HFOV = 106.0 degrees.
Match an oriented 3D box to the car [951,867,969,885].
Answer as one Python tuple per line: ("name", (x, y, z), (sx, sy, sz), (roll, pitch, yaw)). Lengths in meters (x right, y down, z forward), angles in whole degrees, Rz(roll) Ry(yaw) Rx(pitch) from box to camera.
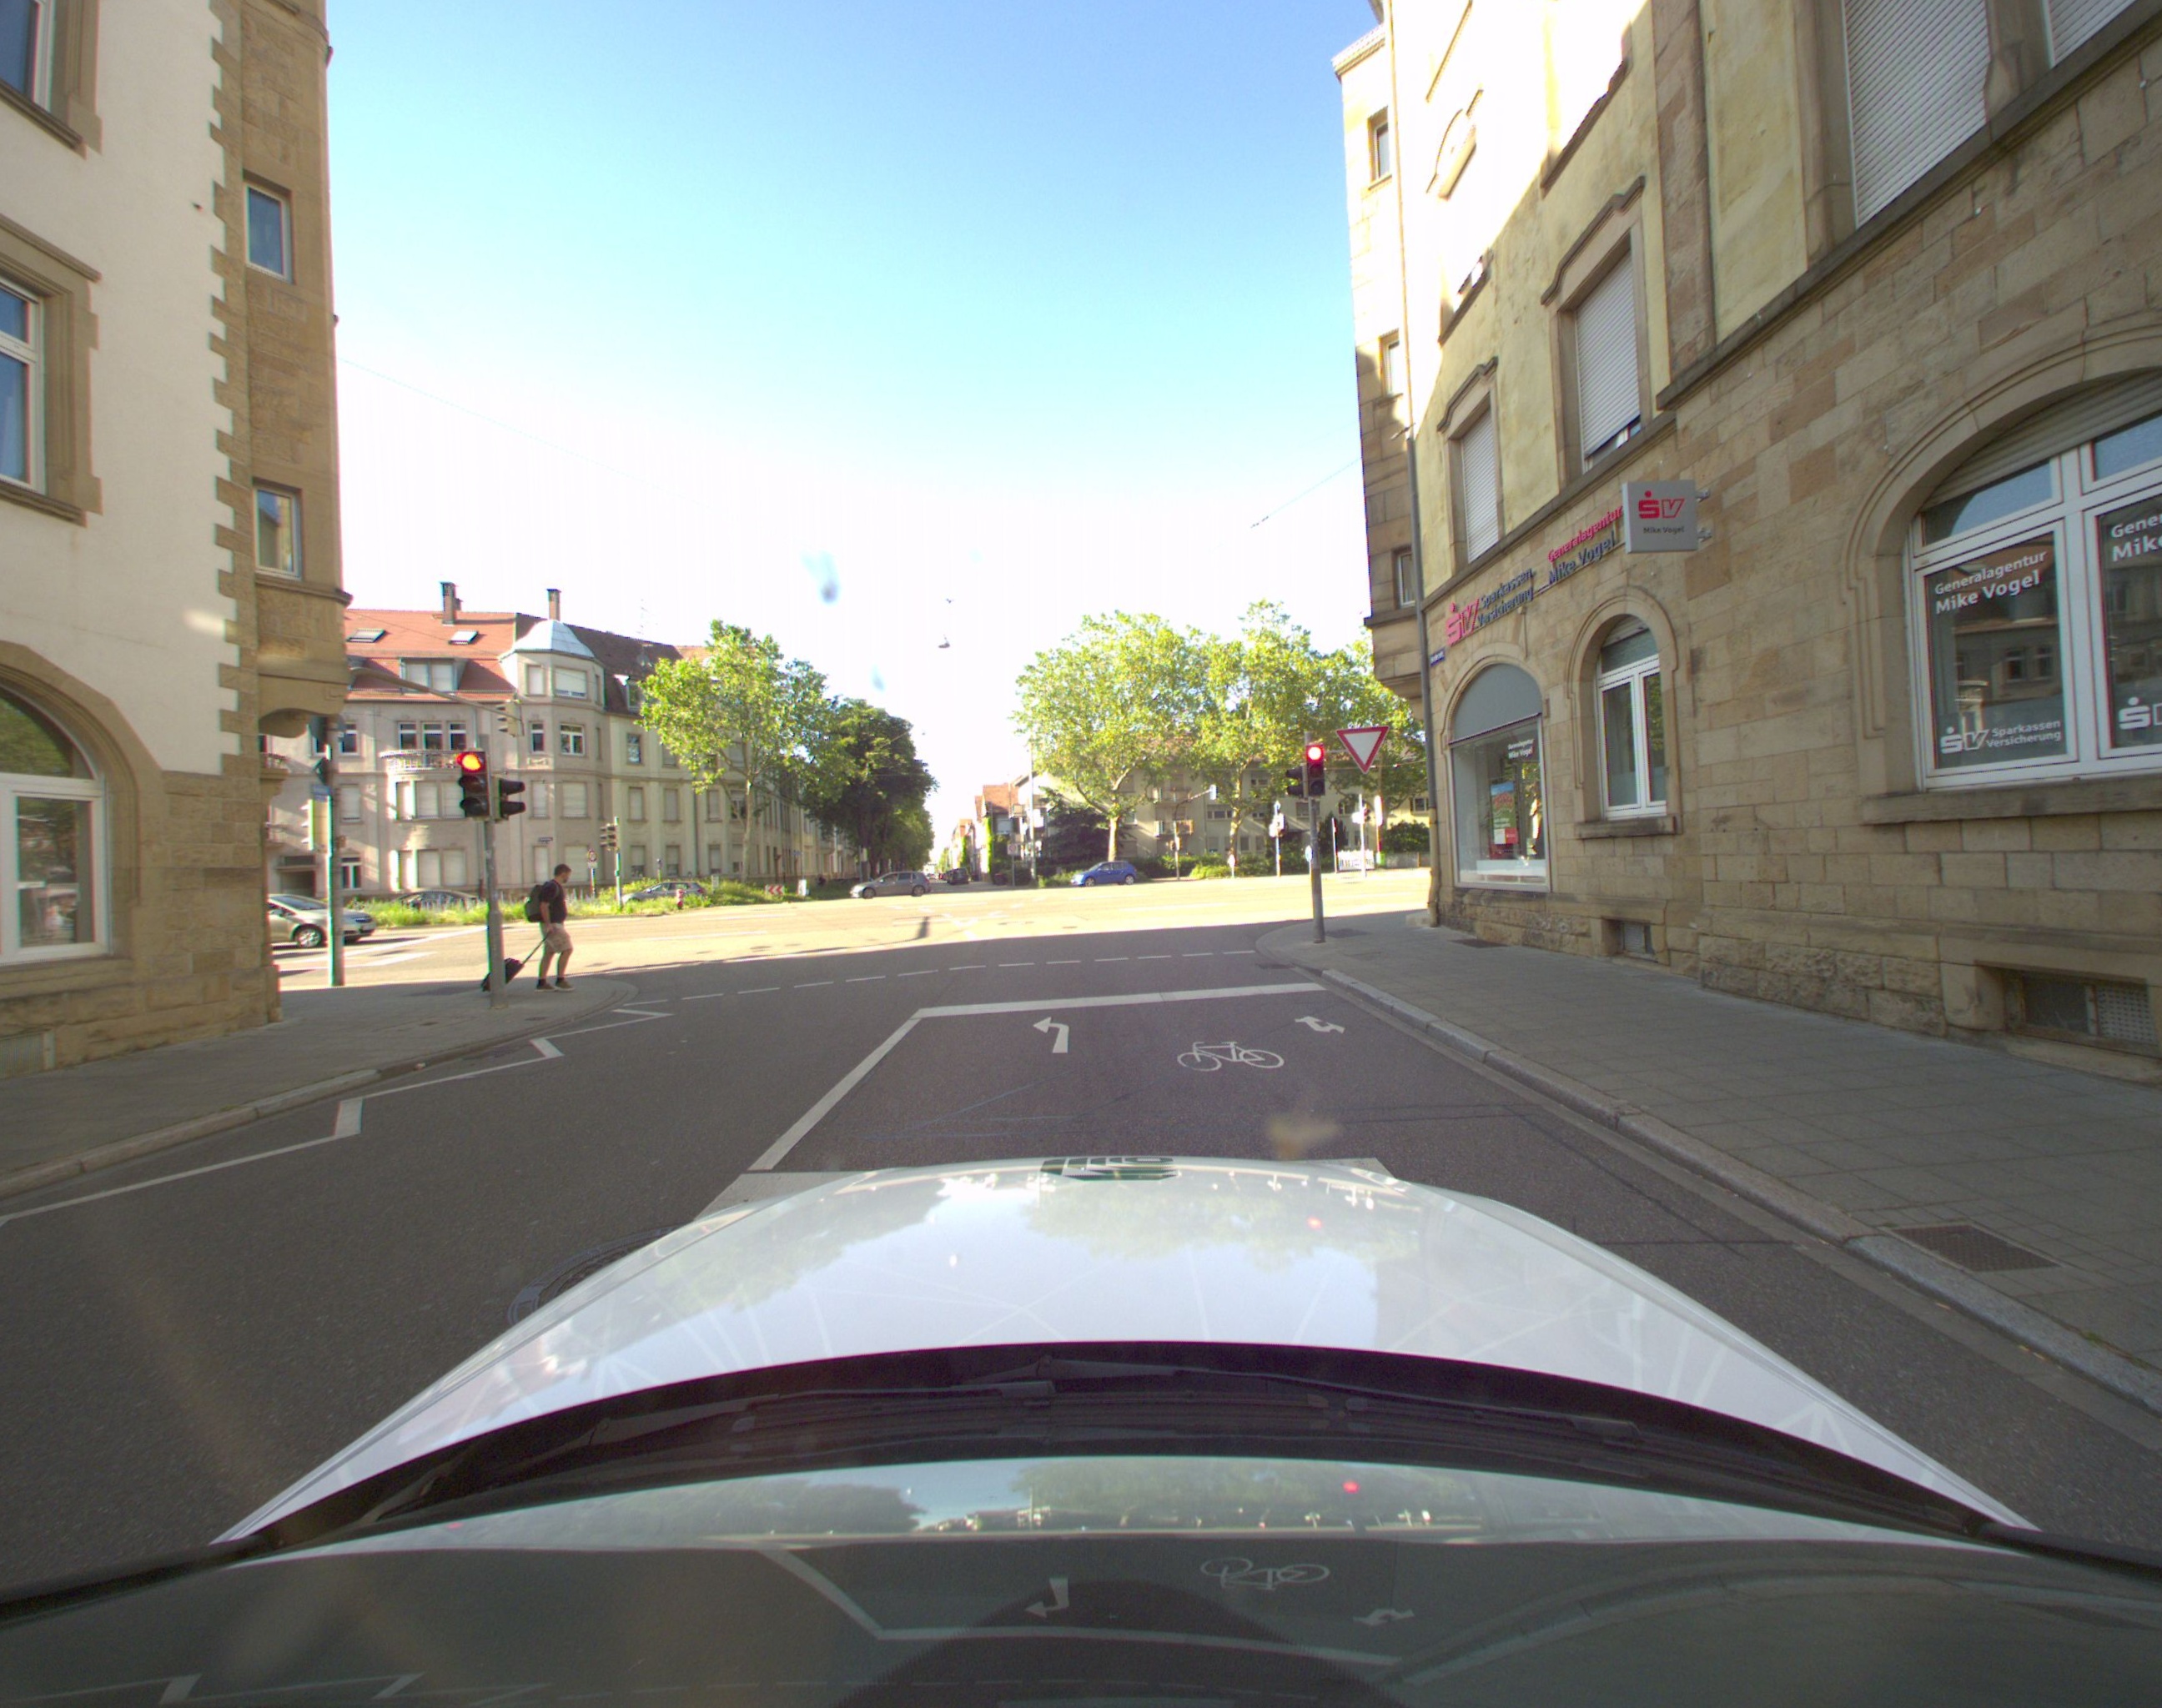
("car", (-14.124, 2.516, 94.977), (1.773, 1.918, 3.522), (-4, 0, -10))

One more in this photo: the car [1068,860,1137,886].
("car", (1.267, 1.111, 48.715), (3.787, 1.400, 1.638), (-2, 0, -15))

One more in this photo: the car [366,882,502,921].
("car", (-28.050, 2.014, 35.452), (4.281, 1.400, 1.635), (-2, 0, -20))

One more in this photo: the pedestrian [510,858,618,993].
("pedestrian", (-7.406, 0.994, 11.716), (1.066, 1.849, 0.746), (1, -1, -11))

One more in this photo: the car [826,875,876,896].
("car", (-17.955, 2.472, 63.713), (3.636, 1.457, 1.650), (-2, 0, -14))

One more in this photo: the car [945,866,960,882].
("car", (-16.570, 2.556, 105.202), (1.773, 1.918, 3.522), (-4, 0, -10))

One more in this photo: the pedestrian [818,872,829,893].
("pedestrian", (-18.075, 2.007, 57.120), (0.705, 1.442, 0.486), (0, -1, -21))

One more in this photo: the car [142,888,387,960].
("car", (-21.408, 1.788, 21.563), (4.212, 1.456, 1.669), (-3, 0, -17))

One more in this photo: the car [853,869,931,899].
("car", (-10.267, 1.601, 44.172), (3.952, 1.400, 1.635), (-2, 0, -20))

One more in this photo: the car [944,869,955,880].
("car", (-23.758, 3.714, 147.183), (1.773, 1.918, 3.522), (-4, 0, -10))

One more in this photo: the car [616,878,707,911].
("car", (-20.899, 2.003, 40.691), (3.793, 1.400, 1.635), (-2, 0, -20))

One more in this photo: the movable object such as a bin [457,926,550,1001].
("movable object such as a bin", (-7.799, 1.468, 11.024), (0.862, 0.892, 0.507), (-3, 0, -11))

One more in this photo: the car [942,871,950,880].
("car", (-30.135, 4.824, 181.726), (1.773, 1.918, 3.522), (-4, 0, -10))

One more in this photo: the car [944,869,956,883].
("car", (-20.749, 3.487, 128.815), (1.773, 1.918, 3.522), (-4, 0, -10))
